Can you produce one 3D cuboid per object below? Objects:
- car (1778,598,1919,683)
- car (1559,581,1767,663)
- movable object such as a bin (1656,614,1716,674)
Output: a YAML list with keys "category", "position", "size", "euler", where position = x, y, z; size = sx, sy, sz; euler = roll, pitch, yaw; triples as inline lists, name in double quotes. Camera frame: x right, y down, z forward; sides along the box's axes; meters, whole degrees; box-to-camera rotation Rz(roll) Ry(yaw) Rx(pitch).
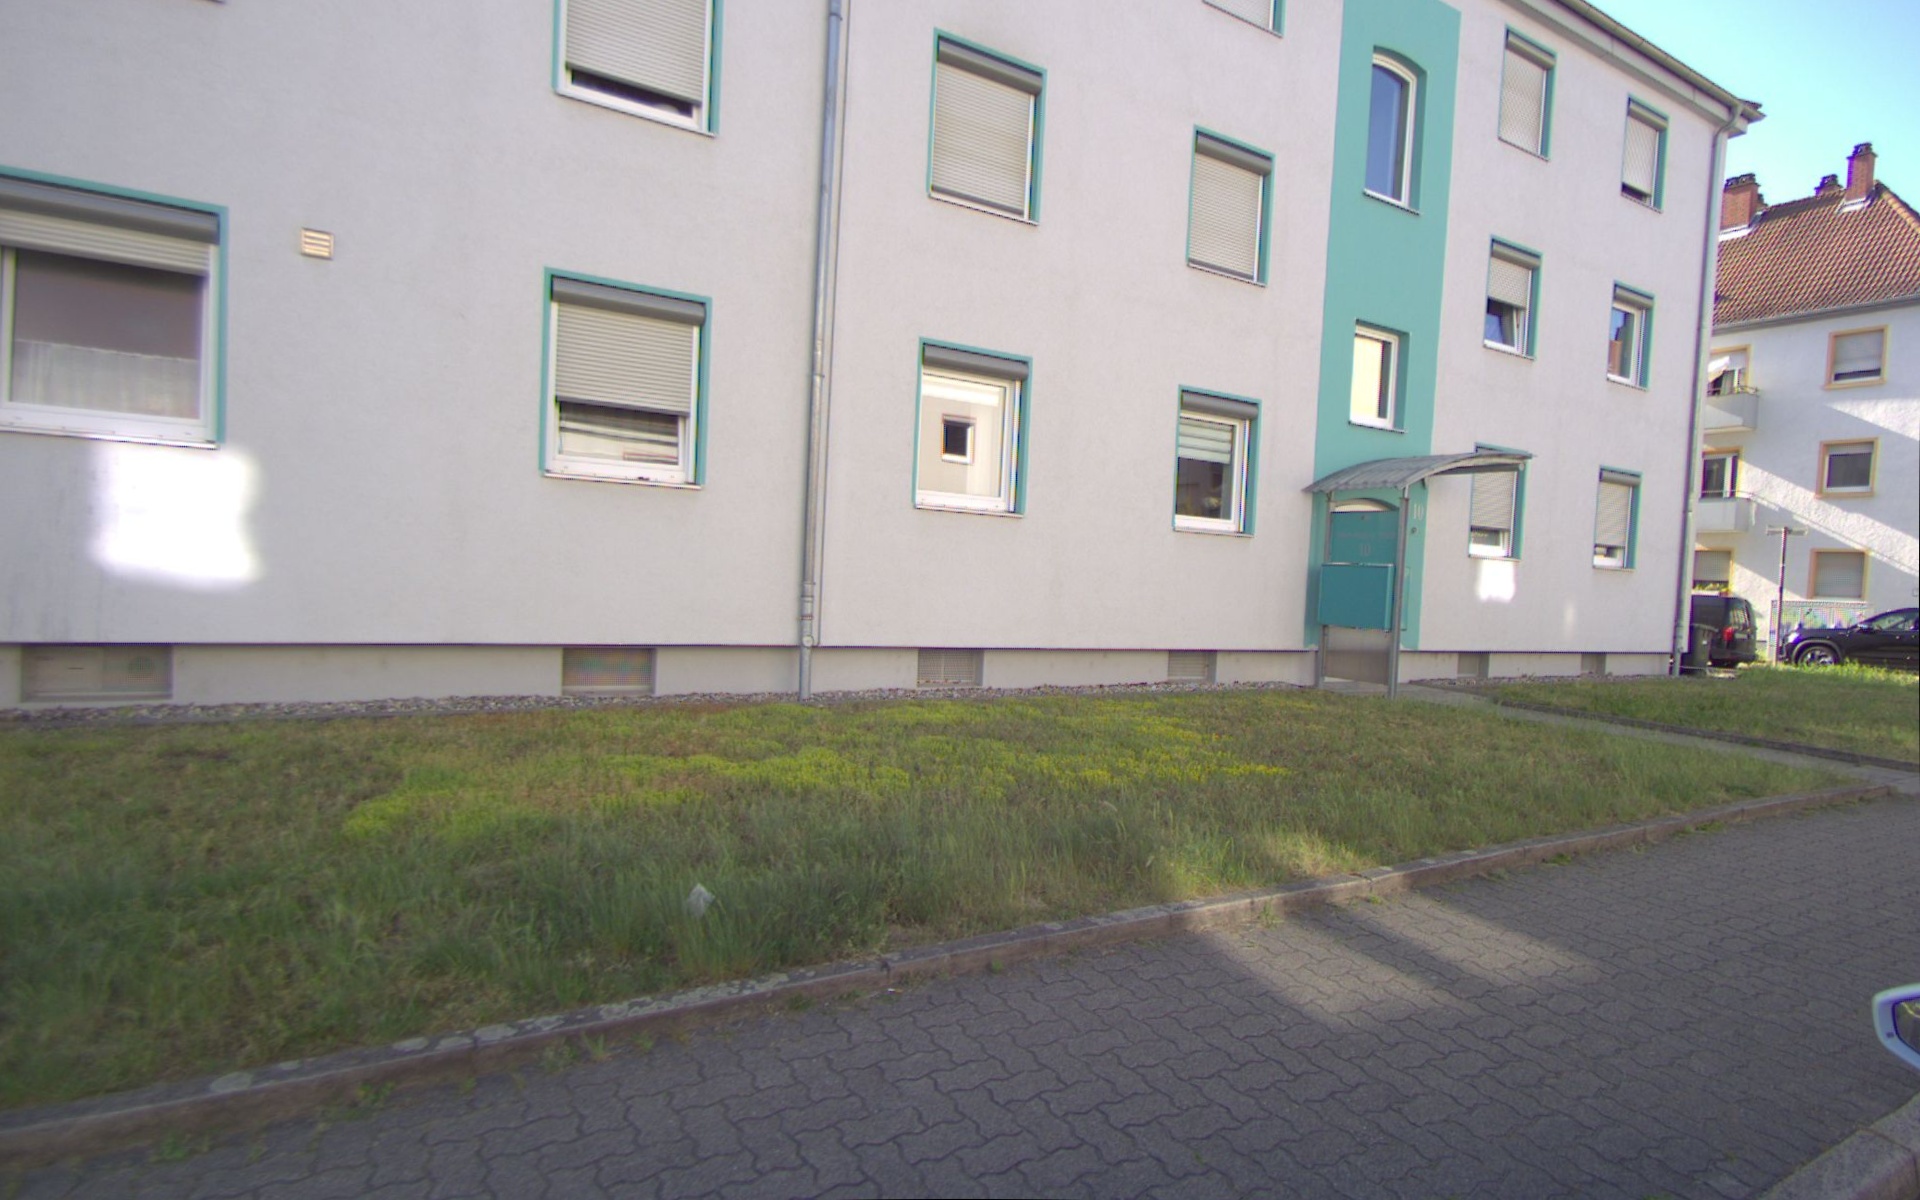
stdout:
- category: "car"
  position: [20.538, 0.920, 21.406]
  size: [1.700, 1.685, 4.466]
  euler: [4, 0, -30]
- category: "car"
  position: [17.954, 0.515, 25.854]
  size: [1.700, 1.812, 3.971]
  euler: [4, 0, -30]
- category: "movable object such as a bin"
  position: [13.145, 0.788, 18.190]
  size: [0.707, 1.005, 0.609]
  euler: [1, 3, -32]
